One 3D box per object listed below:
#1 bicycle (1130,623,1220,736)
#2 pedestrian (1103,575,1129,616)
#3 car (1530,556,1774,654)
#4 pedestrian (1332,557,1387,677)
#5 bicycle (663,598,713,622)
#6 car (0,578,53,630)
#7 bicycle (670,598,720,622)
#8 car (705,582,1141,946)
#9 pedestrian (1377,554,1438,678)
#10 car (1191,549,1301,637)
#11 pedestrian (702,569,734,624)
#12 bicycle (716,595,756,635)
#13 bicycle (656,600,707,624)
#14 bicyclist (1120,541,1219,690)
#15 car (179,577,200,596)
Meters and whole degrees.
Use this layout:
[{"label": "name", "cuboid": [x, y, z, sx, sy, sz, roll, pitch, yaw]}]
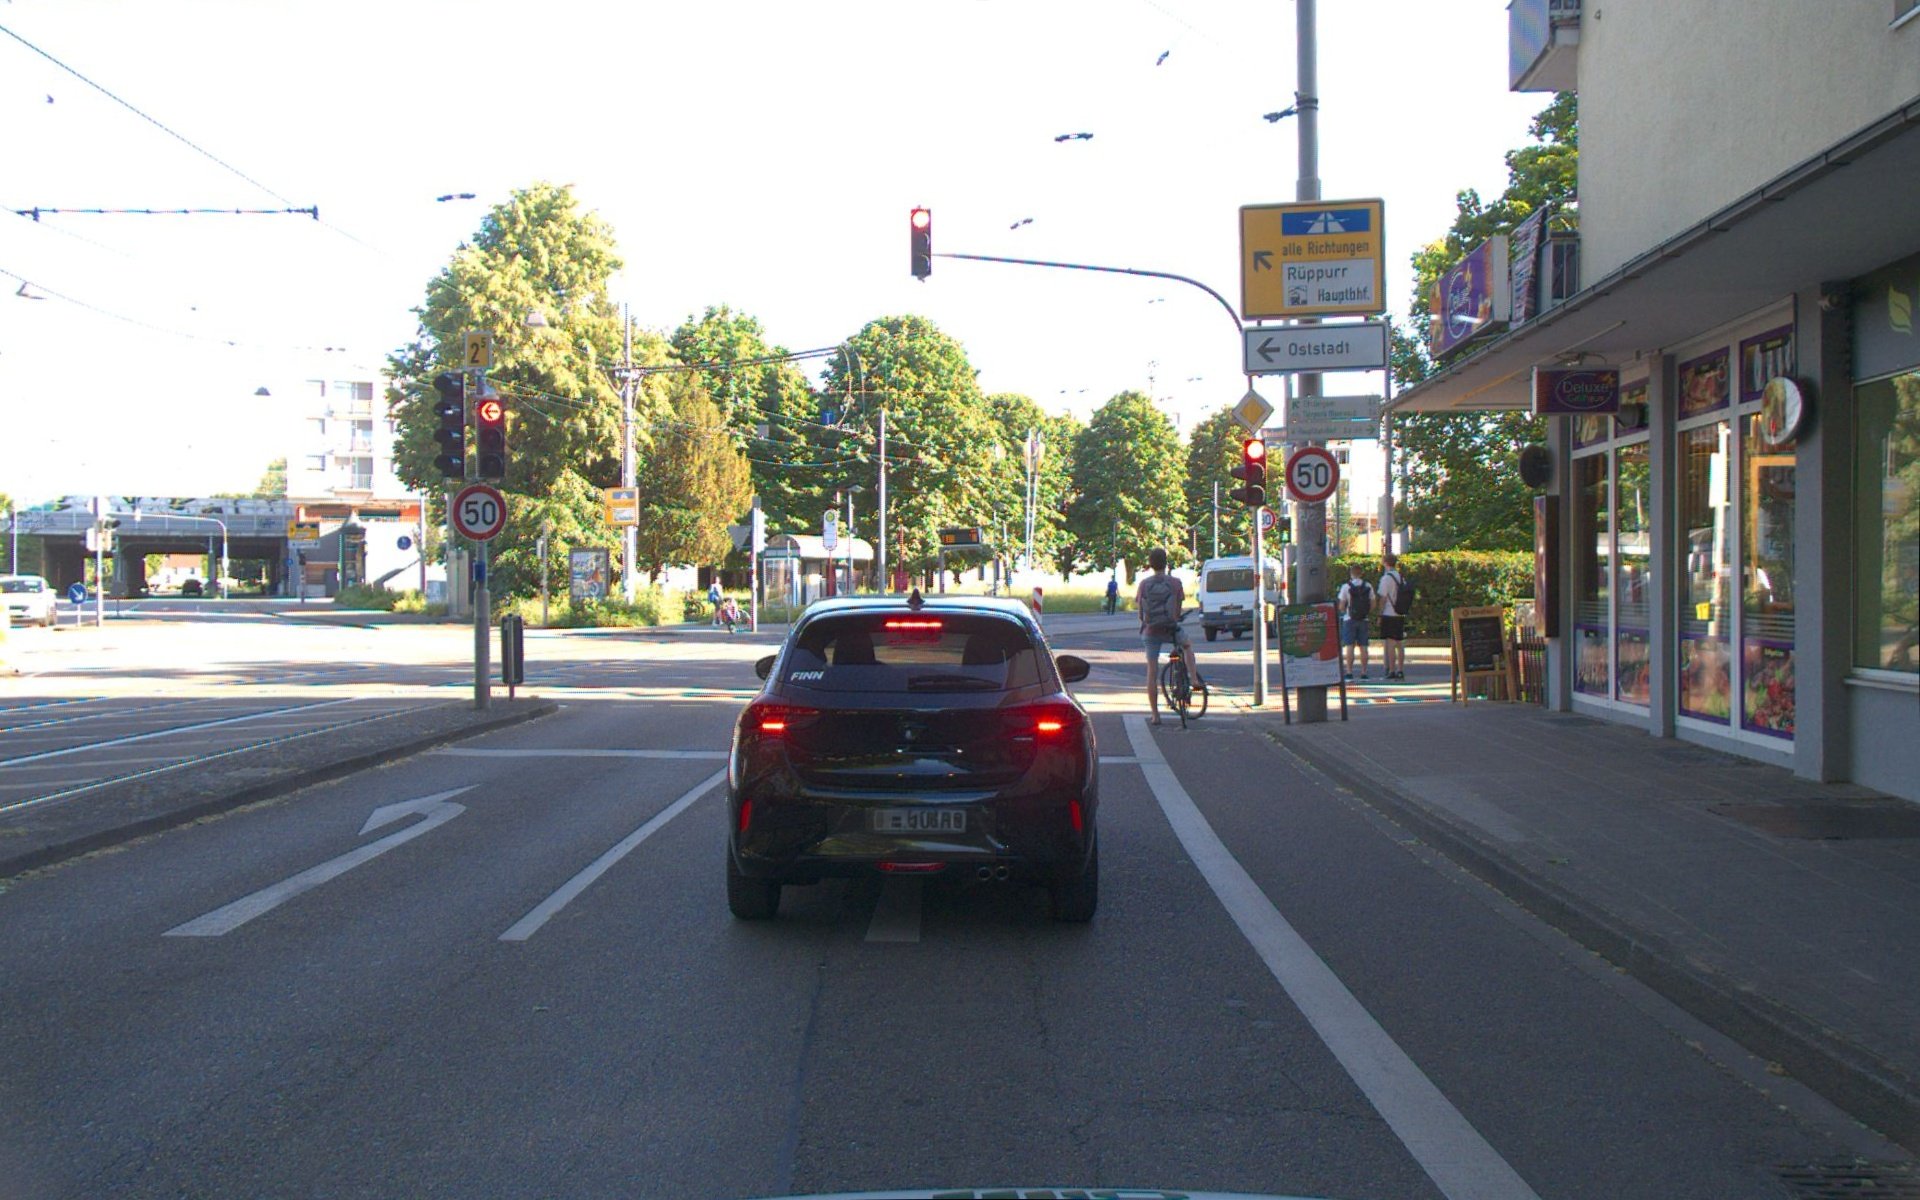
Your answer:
[{"label": "bicycle", "cuboid": [2.266, 0.816, 17.644, 0.653, 1.078, 2.082, 0, 1, -1]}, {"label": "pedestrian", "cuboid": [7.087, -0.214, 75.123, 0.939, 1.824, 0.995, 0, 0, 25]}, {"label": "car", "cuboid": [13.563, 0.127, 32.651, 4.087, 1.846, 1.807, 0, -2, 8]}, {"label": "pedestrian", "cuboid": [6.175, 0.252, 25.568, 0.684, 1.823, 0.617, 0, 0, -1]}, {"label": "bicycle", "cuboid": [-10.634, 0.399, 64.653, 1.837, 0.922, 0.660, 0, 0, 6]}, {"label": "car", "cuboid": [-31.440, 0.096, 55.065, 1.974, 1.660, 4.581, -1, 1, -32]}, {"label": "bicycle", "cuboid": [-10.501, 0.405, 65.526, 1.837, 0.922, 0.660, 0, 0, 6]}, {"label": "car", "cuboid": [-0.125, 0.645, 8.695, 1.763, 1.466, 3.940, 0, 1, 1]}, {"label": "pedestrian", "cuboid": [6.944, 0.237, 25.646, 0.691, 1.878, 0.697, 0, 0, 39]}, {"label": "car", "cuboid": [8.030, -0.179, 46.146, 2.047, 2.317, 4.304, 1, 0, 23]}, {"label": "pedestrian", "cuboid": [-7.741, -0.117, 52.931, 0.713, 1.722, 0.698, 0, 0, 36]}, {"label": "bicycle", "cuboid": [-6.284, 0.401, 46.528, 0.808, 1.078, 1.883, 0, 1, 2]}, {"label": "bicycle", "cuboid": [-10.713, 0.455, 63.667, 1.837, 0.922, 0.660, 0, 0, 6]}, {"label": "bicyclist", "cuboid": [2.223, 0.151, 17.712, 0.823, 1.536, 1.368, 0, 0, -3]}, {"label": "car", "cuboid": [-87.103, -1.492, 186.941, 1.970, 2.049, 3.965, 1, 0, -27]}]
